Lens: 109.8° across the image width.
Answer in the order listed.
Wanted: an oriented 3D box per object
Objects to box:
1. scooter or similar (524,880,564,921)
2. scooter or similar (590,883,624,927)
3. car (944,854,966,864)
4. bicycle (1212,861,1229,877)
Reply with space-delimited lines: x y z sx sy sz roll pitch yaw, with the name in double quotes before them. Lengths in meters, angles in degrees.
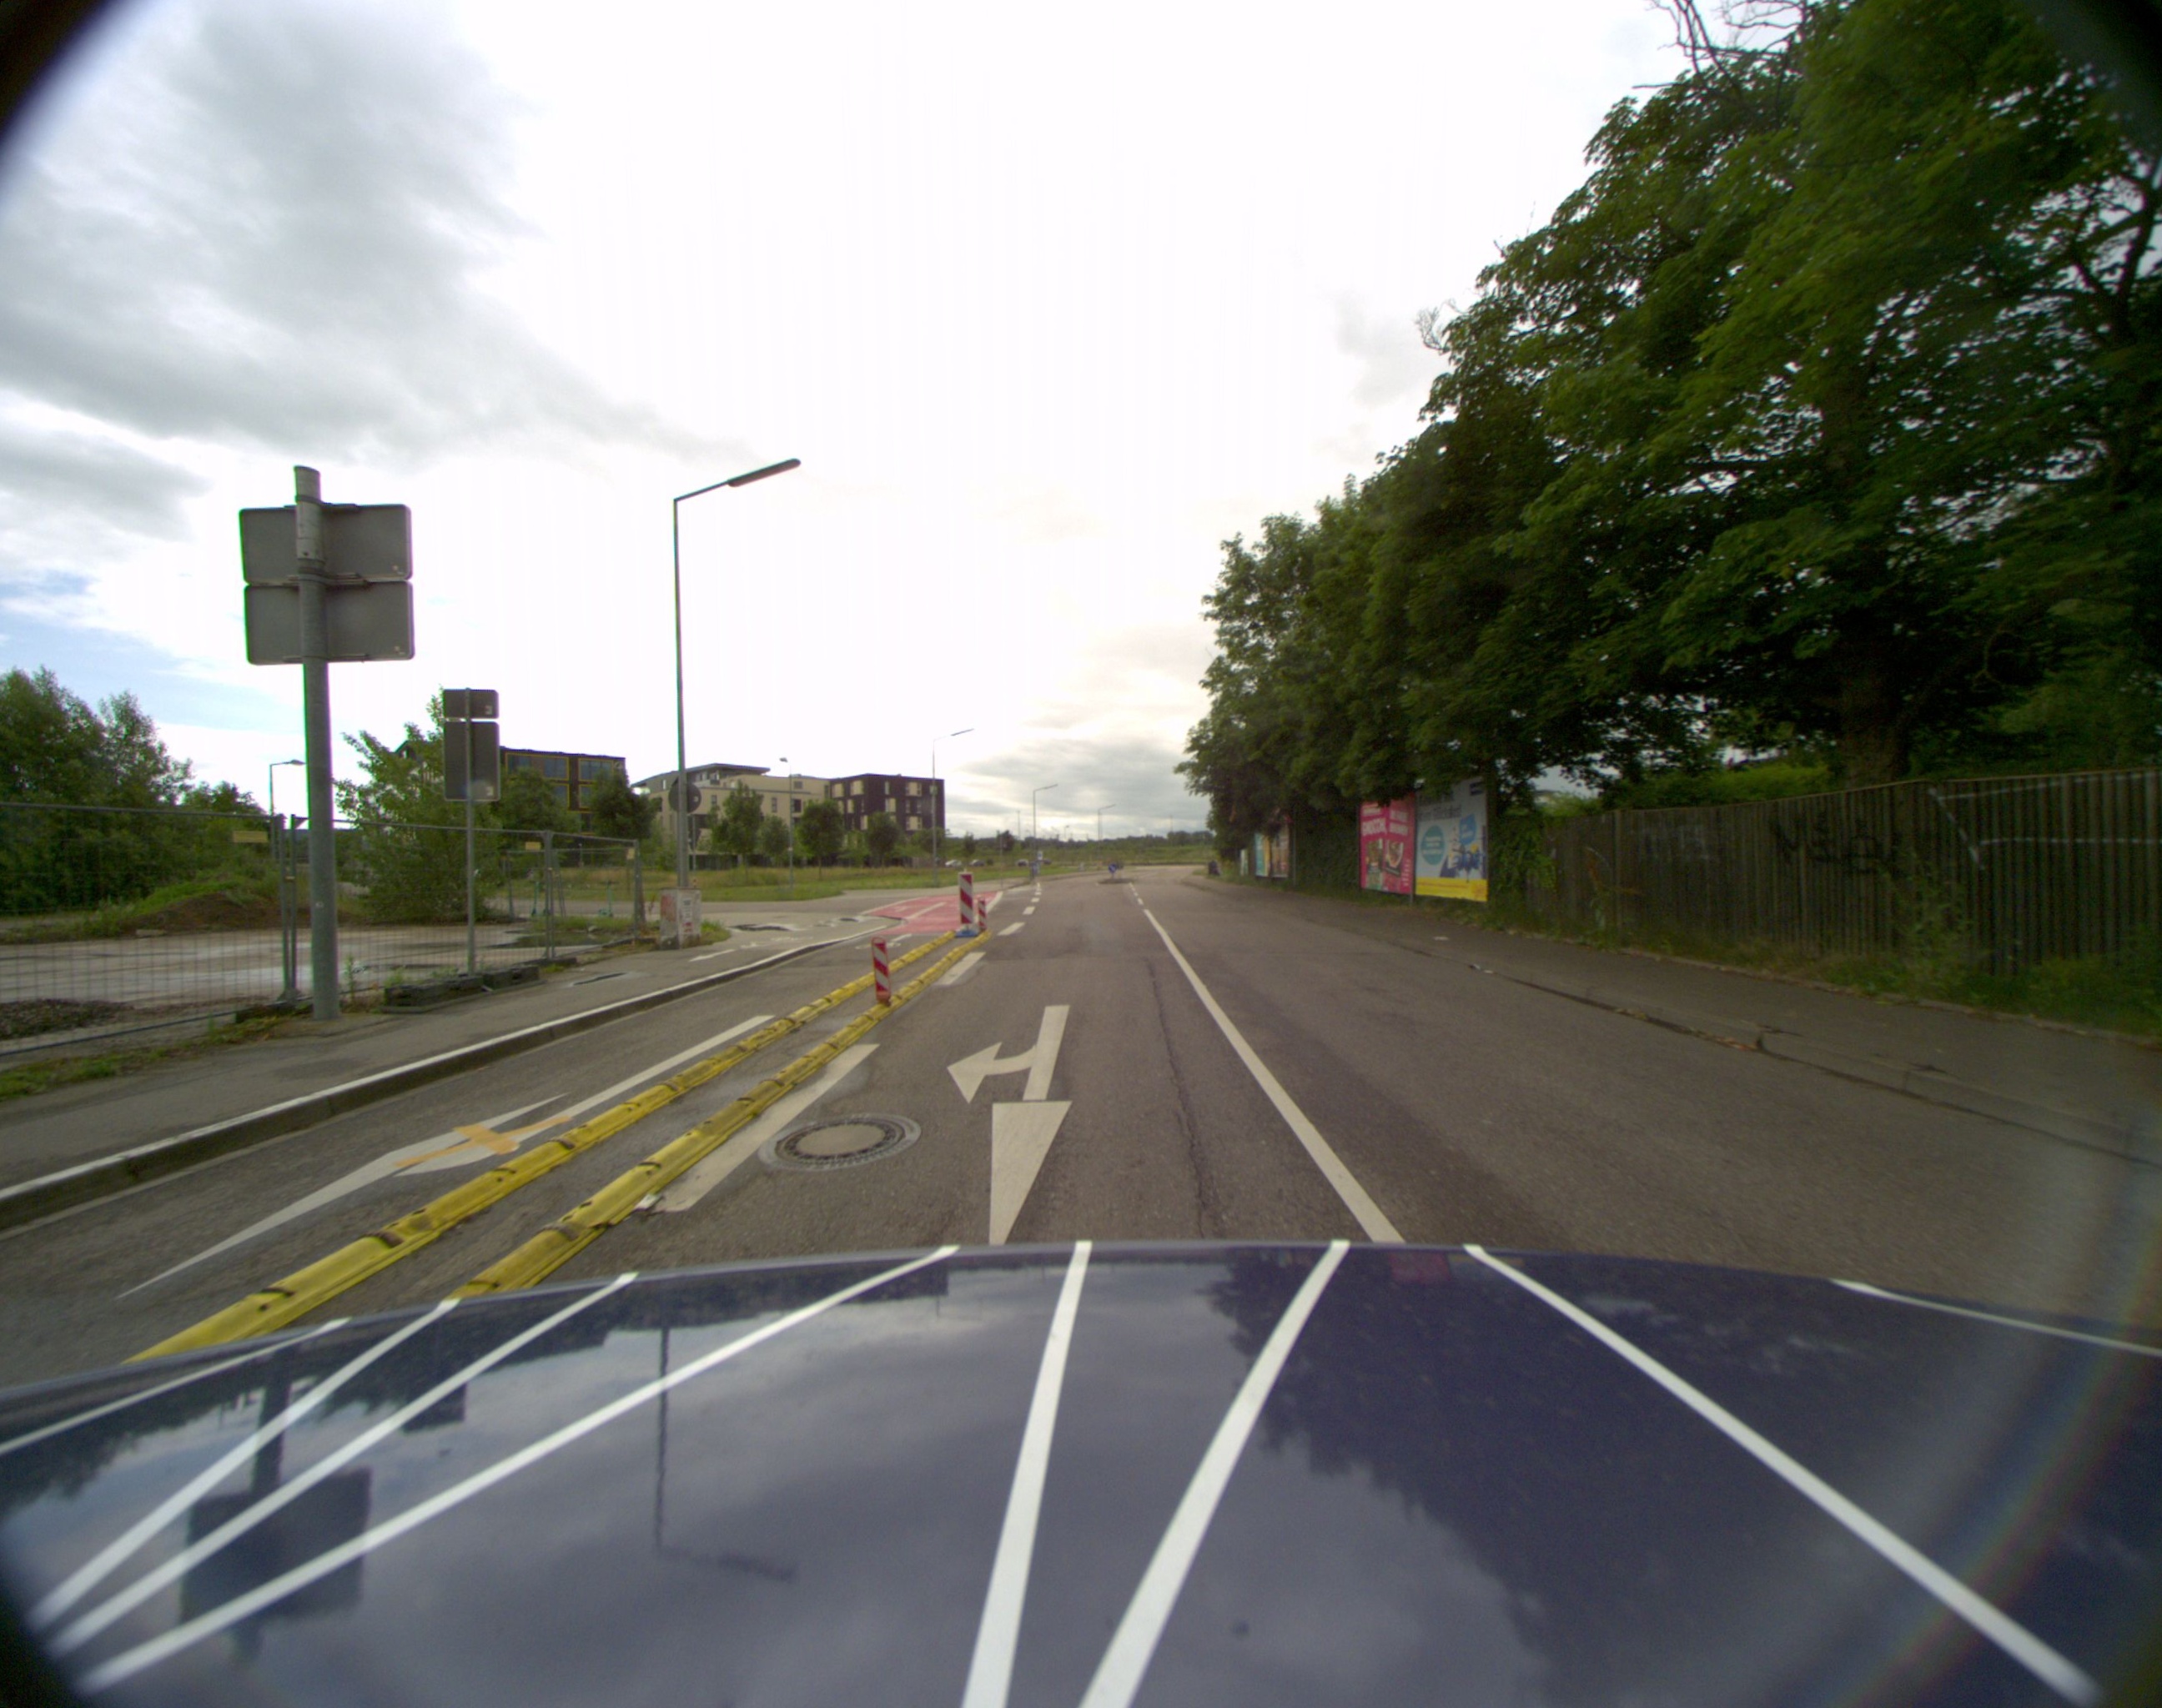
"scooter or similar" -16.053 1.374 22.699 1.170 1.178 0.447 -1 0 26
"scooter or similar" -13.486 1.426 21.626 1.323 1.178 0.447 -1 0 42
"car" -25.380 0.949 152.799 1.994 2.002 4.008 0 0 43
"bicycle" 9.420 0.979 51.321 0.582 0.992 1.773 -3 0 28
